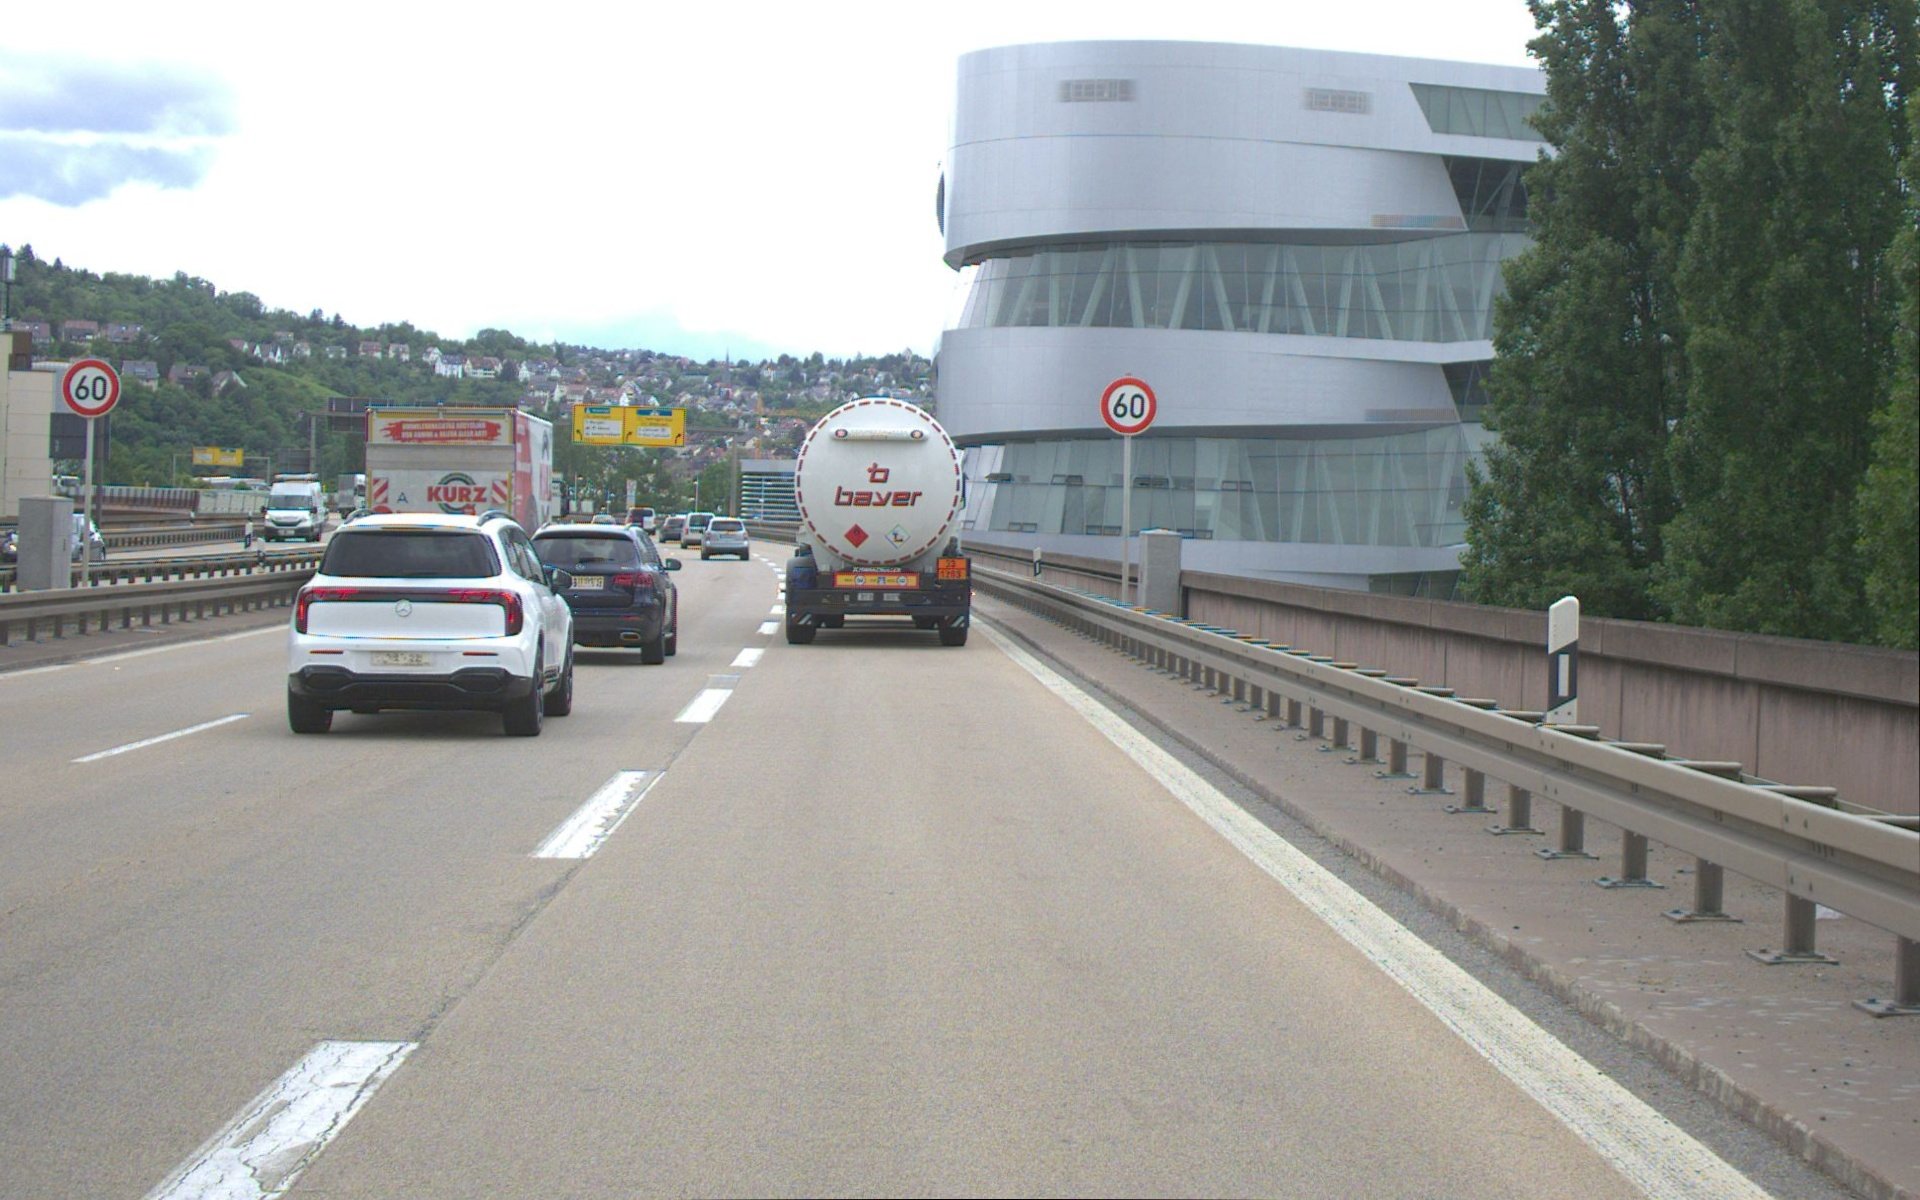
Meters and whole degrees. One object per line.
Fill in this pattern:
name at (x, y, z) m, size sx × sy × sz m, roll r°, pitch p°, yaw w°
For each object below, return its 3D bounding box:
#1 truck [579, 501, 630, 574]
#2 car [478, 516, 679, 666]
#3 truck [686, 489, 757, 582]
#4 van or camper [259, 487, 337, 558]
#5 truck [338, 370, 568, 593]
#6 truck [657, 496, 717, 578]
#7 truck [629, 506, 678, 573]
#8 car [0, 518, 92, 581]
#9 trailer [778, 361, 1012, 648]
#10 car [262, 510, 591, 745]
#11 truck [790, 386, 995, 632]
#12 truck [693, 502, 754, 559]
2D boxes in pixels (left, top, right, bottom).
truck at (-22.997, -4.015, 222.097) m, size 3.056 × 4.546 × 8.306 m, roll 1°, pitch 1°, yaw -7°
car at (-4.481, -0.127, 41.013) m, size 1.993 × 1.669 × 4.408 m, roll 1°, pitch 1°, yaw -1°
truck at (-12.097, -3.243, 173.532) m, size 3.056 × 4.546 × 8.306 m, roll 1°, pitch 1°, yaw -7°
van or camper at (-29.020, -3.382, 150.917) m, size 2.171 × 2.998 × 7.118 m, roll 1°, pitch 1°, yaw -2°
truck at (-8.962, -2.046, 61.680) m, size 3.057 × 3.678 × 8.304 m, roll 1°, pitch 1°, yaw -1°
truck at (-15.754, -3.598, 197.842) m, size 3.056 × 4.546 × 8.306 m, roll 1°, pitch 1°, yaw -7°
truck at (-21.421, -4.196, 239.670) m, size 3.056 × 4.546 × 8.306 m, roll 1°, pitch 1°, yaw -7°
car at (-21.166, -1.158, 78.293) m, size 1.786 × 1.372 × 4.230 m, roll 2°, pitch 1°, yaw -1°
trailer at (-0.975, -1.331, 50.089) m, size 3.057 × 3.777 × 8.304 m, roll 1°, pitch 1°, yaw -1°
car at (-4.103, 0.174, 27.137) m, size 1.993 × 1.669 × 4.408 m, roll 1°, pitch 1°, yaw -1°
truck at (-1.094, -1.399, 54.651) m, size 3.014 × 3.644 × 6.274 m, roll 1°, pitch 1°, yaw -2°
truck at (-9.323, -2.744, 136.089) m, size 2.255 × 2.156 × 5.069 m, roll 1°, pitch 1°, yaw -2°
